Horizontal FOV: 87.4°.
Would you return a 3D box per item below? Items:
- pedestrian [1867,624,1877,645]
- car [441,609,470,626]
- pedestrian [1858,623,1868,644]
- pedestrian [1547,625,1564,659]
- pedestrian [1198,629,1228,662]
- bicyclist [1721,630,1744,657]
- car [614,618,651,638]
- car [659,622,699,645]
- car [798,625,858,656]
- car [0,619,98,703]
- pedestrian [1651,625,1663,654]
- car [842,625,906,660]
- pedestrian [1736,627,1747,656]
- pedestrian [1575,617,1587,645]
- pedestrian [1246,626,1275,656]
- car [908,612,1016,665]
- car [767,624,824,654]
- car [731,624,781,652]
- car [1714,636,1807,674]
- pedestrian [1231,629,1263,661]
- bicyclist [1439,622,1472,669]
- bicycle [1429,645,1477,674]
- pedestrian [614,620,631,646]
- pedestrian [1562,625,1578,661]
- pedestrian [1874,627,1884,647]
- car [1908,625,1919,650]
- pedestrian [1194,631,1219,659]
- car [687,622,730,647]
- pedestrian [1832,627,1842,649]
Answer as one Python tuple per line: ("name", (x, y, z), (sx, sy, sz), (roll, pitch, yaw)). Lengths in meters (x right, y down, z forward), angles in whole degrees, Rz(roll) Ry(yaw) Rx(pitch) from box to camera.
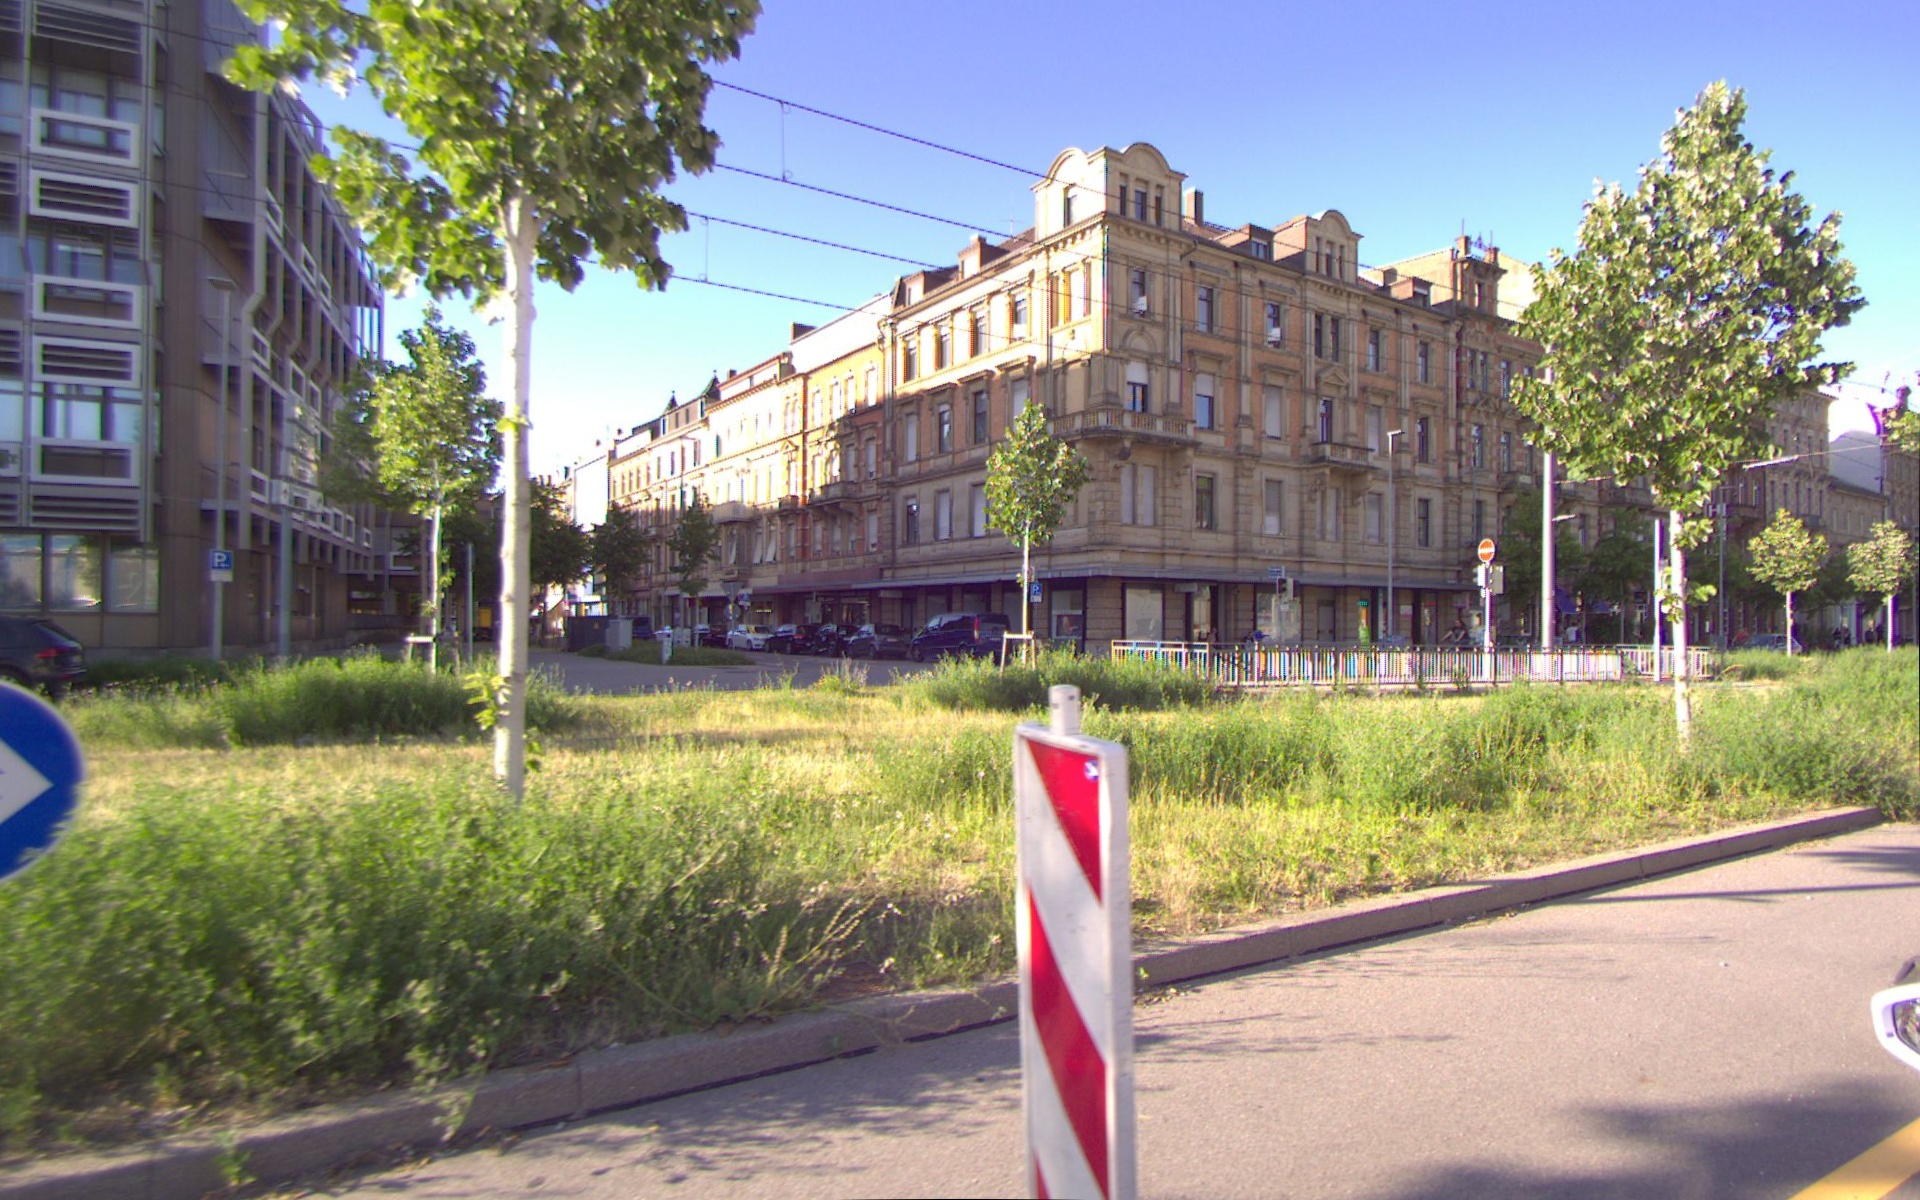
("pedestrian", (68.256, 2.548, 75.167), (0.430, 1.553, 0.403), (1, 1, -32))
("car", (-48.753, 1.663, 97.021), (1.839, 1.595, 3.960), (1, -2, -36))
("pedestrian", (67.903, 2.534, 75.544), (0.430, 1.555, 0.403), (1, 1, -32))
("pedestrian", (28.805, 2.036, 48.604), (0.527, 1.606, 0.484), (1, 1, -32))
("pedestrian", (9.877, 1.754, 39.168), (0.919, 1.263, 0.686), (1, -1, -31))
("bicyclist", (36.453, 2.045, 47.405), (0.730, 1.256, 0.634), (1, -1, -31))
("car", (-23.567, 1.988, 72.293), (1.585, 1.427, 3.328), (1, -2, -36))
("car", (-17.896, 2.140, 63.936), (1.491, 1.428, 3.015), (1, -2, -36))
("car", (-6.205, 1.878, 47.064), (1.565, 1.427, 3.032), (1, -2, -36))
("car", (-18.237, 1.077, 18.046), (3.852, 1.480, 1.723), (1, -1, -29))
("pedestrian", (39.214, 2.220, 56.514), (0.421, 1.606, 0.401), (1, 1, -33))
("car", (-3.795, 1.832, 43.975), (1.371, 1.488, 3.122), (1, -2, -36))
("pedestrian", (48.383, 2.568, 62.184), (0.402, 1.788, 0.364), (1, 1, -32))
("pedestrian", (35.120, 1.752, 56.795), (0.383, 1.606, 0.386), (2, 1, -2))
("pedestrian", (12.239, 1.668, 40.892), (0.919, 1.224, 0.686), (1, -1, -31))
("car", (0.002, 1.449, 38.483), (1.880, 1.928, 4.478), (1, -2, -36))
("car", (-8.142, 1.915, 49.588), (1.565, 1.427, 3.032), (1, -2, -36))
("car", (-10.953, 2.023, 53.835), (1.471, 1.427, 3.032), (1, -2, -36))
("car", (34.156, 2.322, 42.825), (4.024, 1.439, 1.843), (1, 1, -32))
("pedestrian", (11.407, 1.788, 39.913), (0.919, 1.224, 0.787), (1, -1, -31))
("bicyclist", (17.740, 1.620, 35.969), (0.872, 1.679, 0.691), (1, -1, -32))
("bicycle", (17.622, 2.103, 35.880), (1.807, 0.991, 0.691), (1, -1, -32))
("pedestrian", (-19.901, 1.947, 59.212), (0.605, 1.536, 0.737), (0, -1, 12))
("pedestrian", (30.559, 2.150, 50.313), (0.402, 1.788, 0.505), (1, 1, -32))
("pedestrian", (73.003, 2.936, 79.788), (0.431, 1.606, 0.457), (1, 1, -39))
("car", (65.926, 2.541, 68.111), (3.768, 1.697, 1.557), (1, -1, -33))
("pedestrian", (9.905, 1.809, 40.396), (0.727, 1.073, 0.686), (1, -1, -31))
("car", (-14.960, 2.050, 59.676), (1.471, 1.427, 3.032), (1, -2, -36))
("pedestrian", (63.982, 2.749, 73.298), (0.381, 1.606, 0.431), (1, 1, -35))
